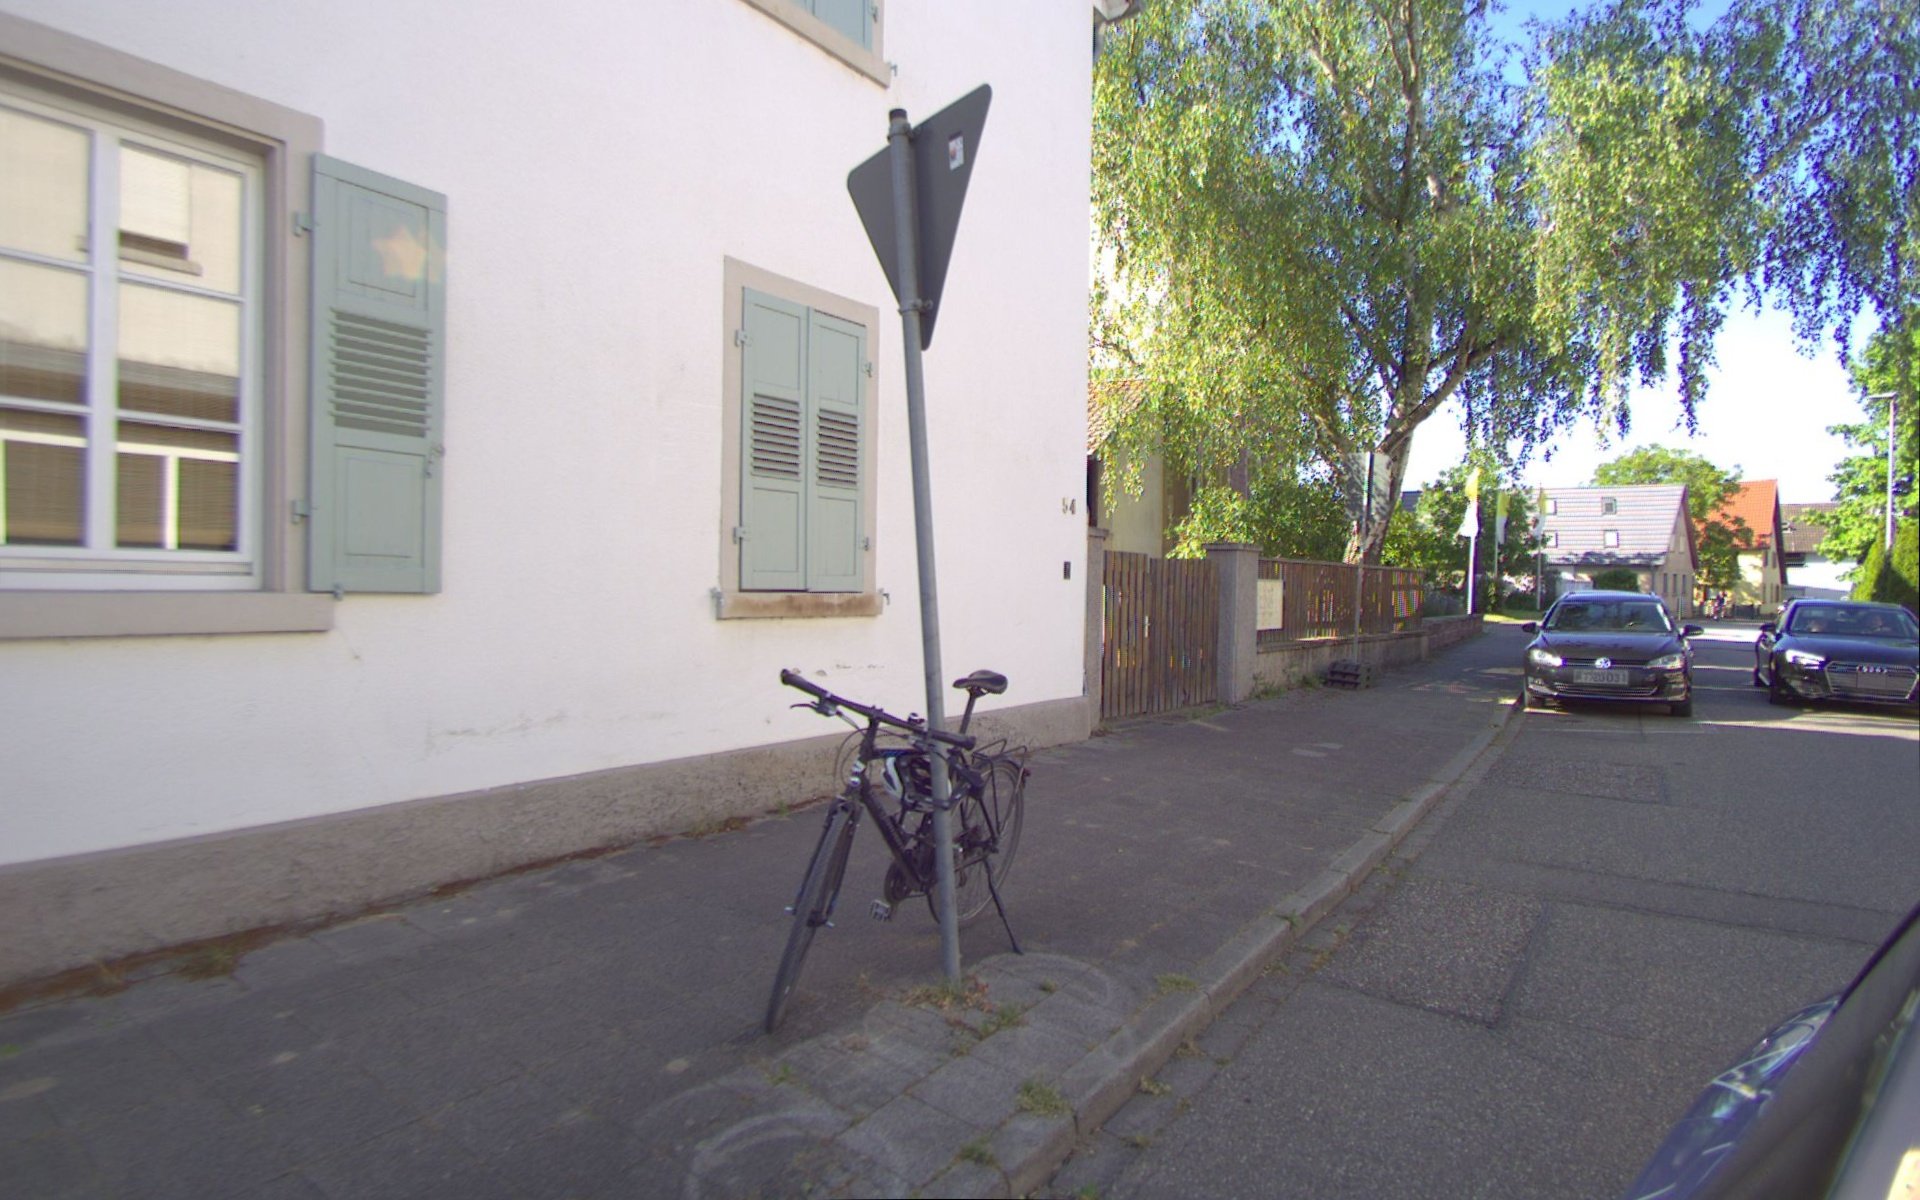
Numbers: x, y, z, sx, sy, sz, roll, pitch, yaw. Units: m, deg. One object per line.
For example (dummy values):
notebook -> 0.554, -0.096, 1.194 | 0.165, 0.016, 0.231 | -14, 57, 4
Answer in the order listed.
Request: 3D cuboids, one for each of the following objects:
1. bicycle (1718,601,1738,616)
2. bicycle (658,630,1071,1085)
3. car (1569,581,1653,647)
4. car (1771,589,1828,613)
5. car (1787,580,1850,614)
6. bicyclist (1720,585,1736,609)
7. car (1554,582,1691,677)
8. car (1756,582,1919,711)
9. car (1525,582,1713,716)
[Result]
bicycle -> 42.955, 0.487, 56.600 | 1.770, 0.771, 0.581 | 0, 3, -44
bicycle -> -0.198, 0.706, 3.576 | 0.433, 1.093, 1.870 | 2, 2, 30
car -> 16.113, 0.295, 25.176 | 1.640, 1.497, 3.890 | 1, 1, 31
car -> 50.173, 0.054, 60.465 | 3.818, 1.420, 1.676 | 0, 0, -35
car -> 44.265, -0.181, 52.134 | 4.276, 1.692, 1.836 | -1, 1, -41
bicyclist -> 42.964, -0.174, 56.600 | 0.598, 1.336, 0.582 | 0, 3, -44
car -> 11.551, 0.429, 17.838 | 1.799, 1.454, 4.238 | 1, 1, 31
car -> 12.272, 0.535, 13.909 | 1.797, 1.496, 4.289 | 2, 2, 35
car -> 8.749, 0.516, 13.378 | 1.802, 1.454, 4.231 | 1, 1, 35
